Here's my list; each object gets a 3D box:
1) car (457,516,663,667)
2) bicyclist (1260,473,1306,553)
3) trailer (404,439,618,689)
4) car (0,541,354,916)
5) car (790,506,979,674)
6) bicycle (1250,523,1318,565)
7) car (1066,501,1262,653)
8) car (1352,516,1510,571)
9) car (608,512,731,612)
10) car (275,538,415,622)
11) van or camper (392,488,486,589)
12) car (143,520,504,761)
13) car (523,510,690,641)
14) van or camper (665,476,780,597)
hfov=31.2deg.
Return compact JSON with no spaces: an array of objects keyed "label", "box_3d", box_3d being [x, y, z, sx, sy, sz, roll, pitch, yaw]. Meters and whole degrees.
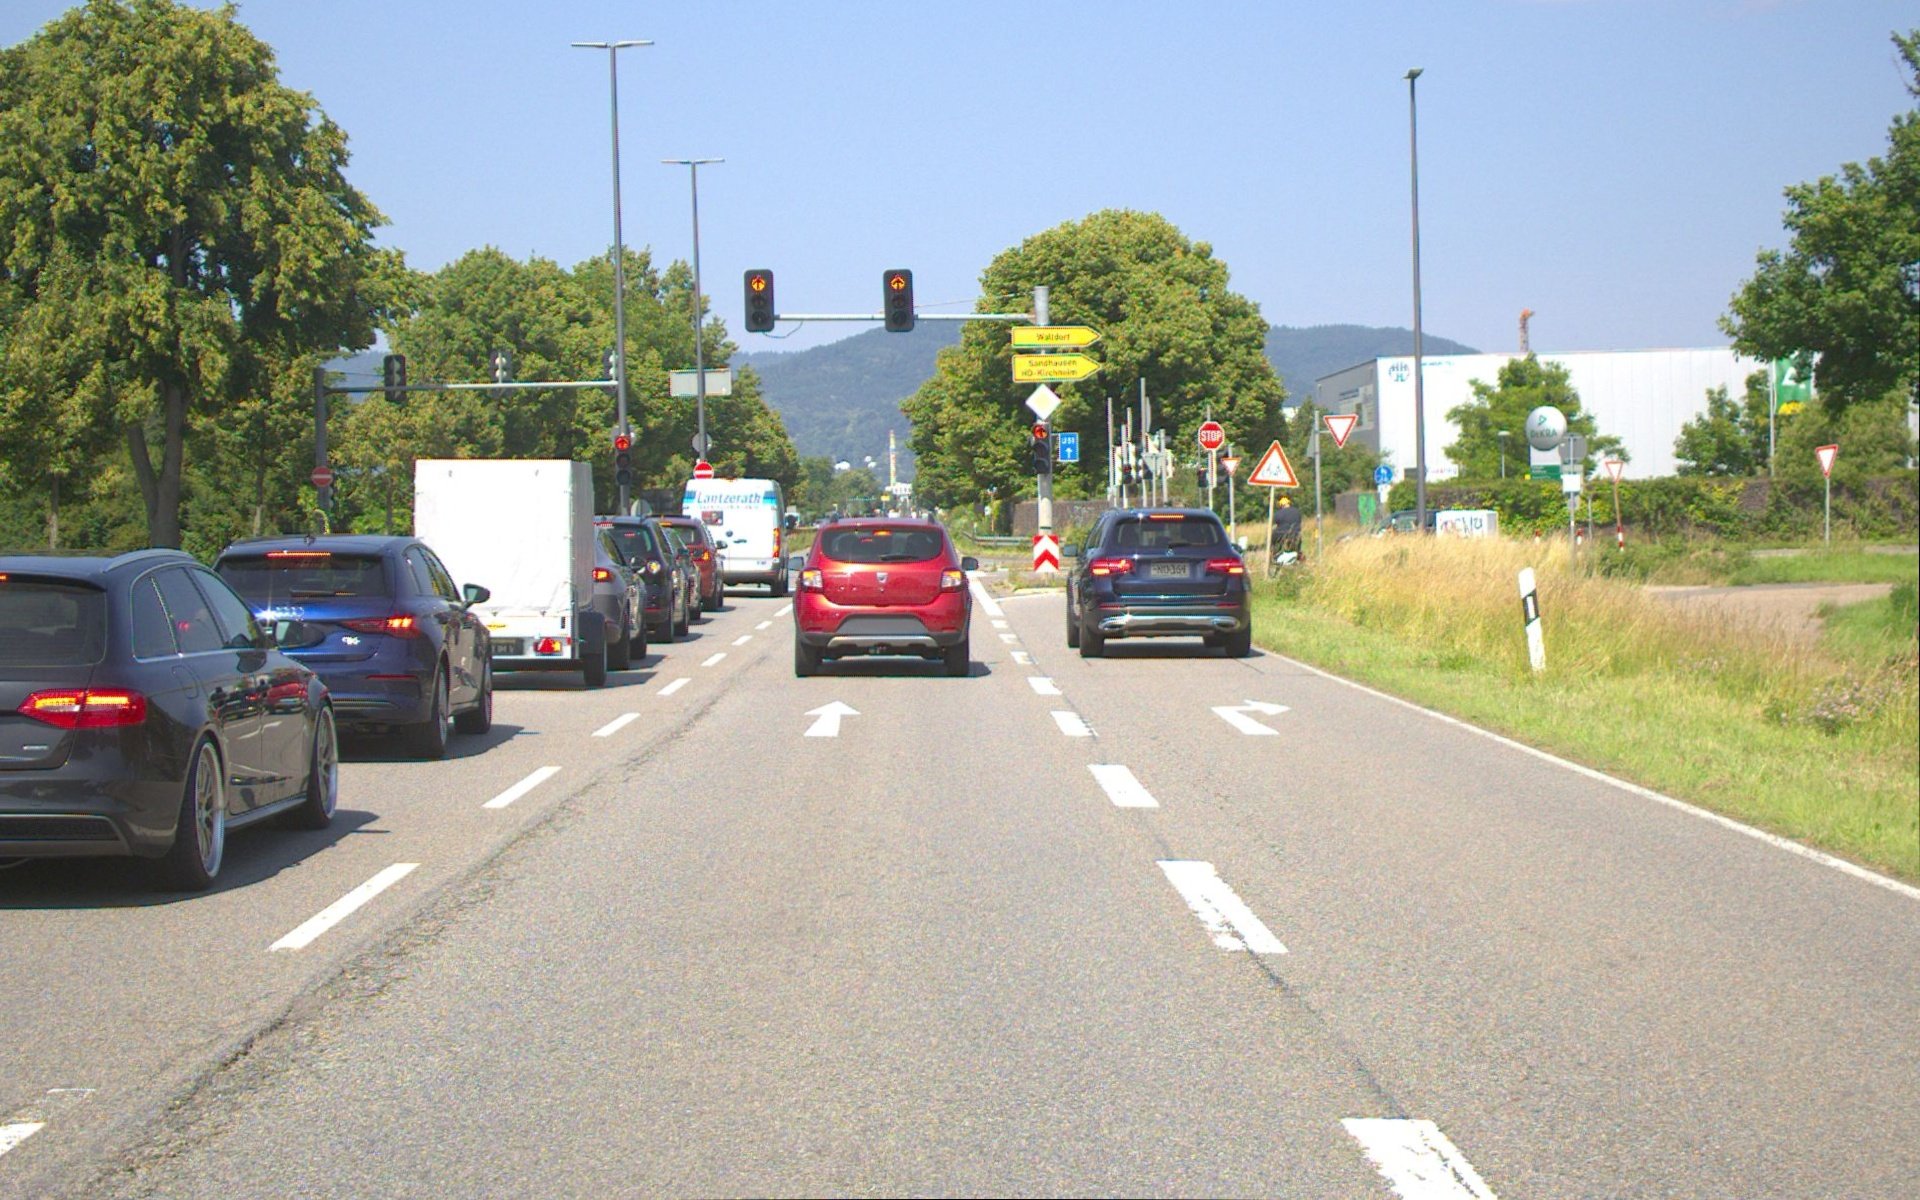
[{"label":"car","box_3d":[-4.176,-0.137,36.465,1.745,1.498,4.363,0,1,-1]},{"label":"bicyclist","box_3d":[7.302,-1.965,77.663,0.802,1.765,0.809,-2,2,-11]},{"label":"trailer","box_3d":[-4.154,-0.369,32.318,1.500,2.166,4.175,-1,1,-1]},{"label":"car","box_3d":[-3.914,0.448,15.163,1.740,1.375,4.455,0,1,-1]},{"label":"car","box_3d":[-0.712,-0.138,34.546,1.749,1.570,3.676,1,1,1]},{"label":"bicycle","box_3d":[7.309,-1.277,77.705,0.761,0.911,2.780,-2,1,-11]},{"label":"car","box_3d":[2.232,-0.298,38.672,1.993,1.611,4.340,0,1,1]},{"label":"car","box_3d":[12.114,-1.463,88.629,3.988,1.322,1.806,-1,1,7]},{"label":"car","box_3d":[-4.830,-0.661,57.509,1.724,1.594,3.956,0,1,0]},{"label":"car","box_3d":[-11.454,-0.405,64.317,1.879,1.449,4.505,-1,1,-1]},{"label":"van or camper","box_3d":[-16.596,-1.970,109.675,2.263,3.088,5.696,-1,1,-2]},{"label":"car","box_3d":[-4.143,0.199,22.959,1.717,1.460,4.030,0,1,-1]},{"label":"car","box_3d":[-4.417,-0.343,43.419,1.723,1.570,3.893,0,1,0]},{"label":"van or camper","box_3d":[-4.656,-1.261,67.931,2.179,2.295,4.827,0,1,-3]}]
